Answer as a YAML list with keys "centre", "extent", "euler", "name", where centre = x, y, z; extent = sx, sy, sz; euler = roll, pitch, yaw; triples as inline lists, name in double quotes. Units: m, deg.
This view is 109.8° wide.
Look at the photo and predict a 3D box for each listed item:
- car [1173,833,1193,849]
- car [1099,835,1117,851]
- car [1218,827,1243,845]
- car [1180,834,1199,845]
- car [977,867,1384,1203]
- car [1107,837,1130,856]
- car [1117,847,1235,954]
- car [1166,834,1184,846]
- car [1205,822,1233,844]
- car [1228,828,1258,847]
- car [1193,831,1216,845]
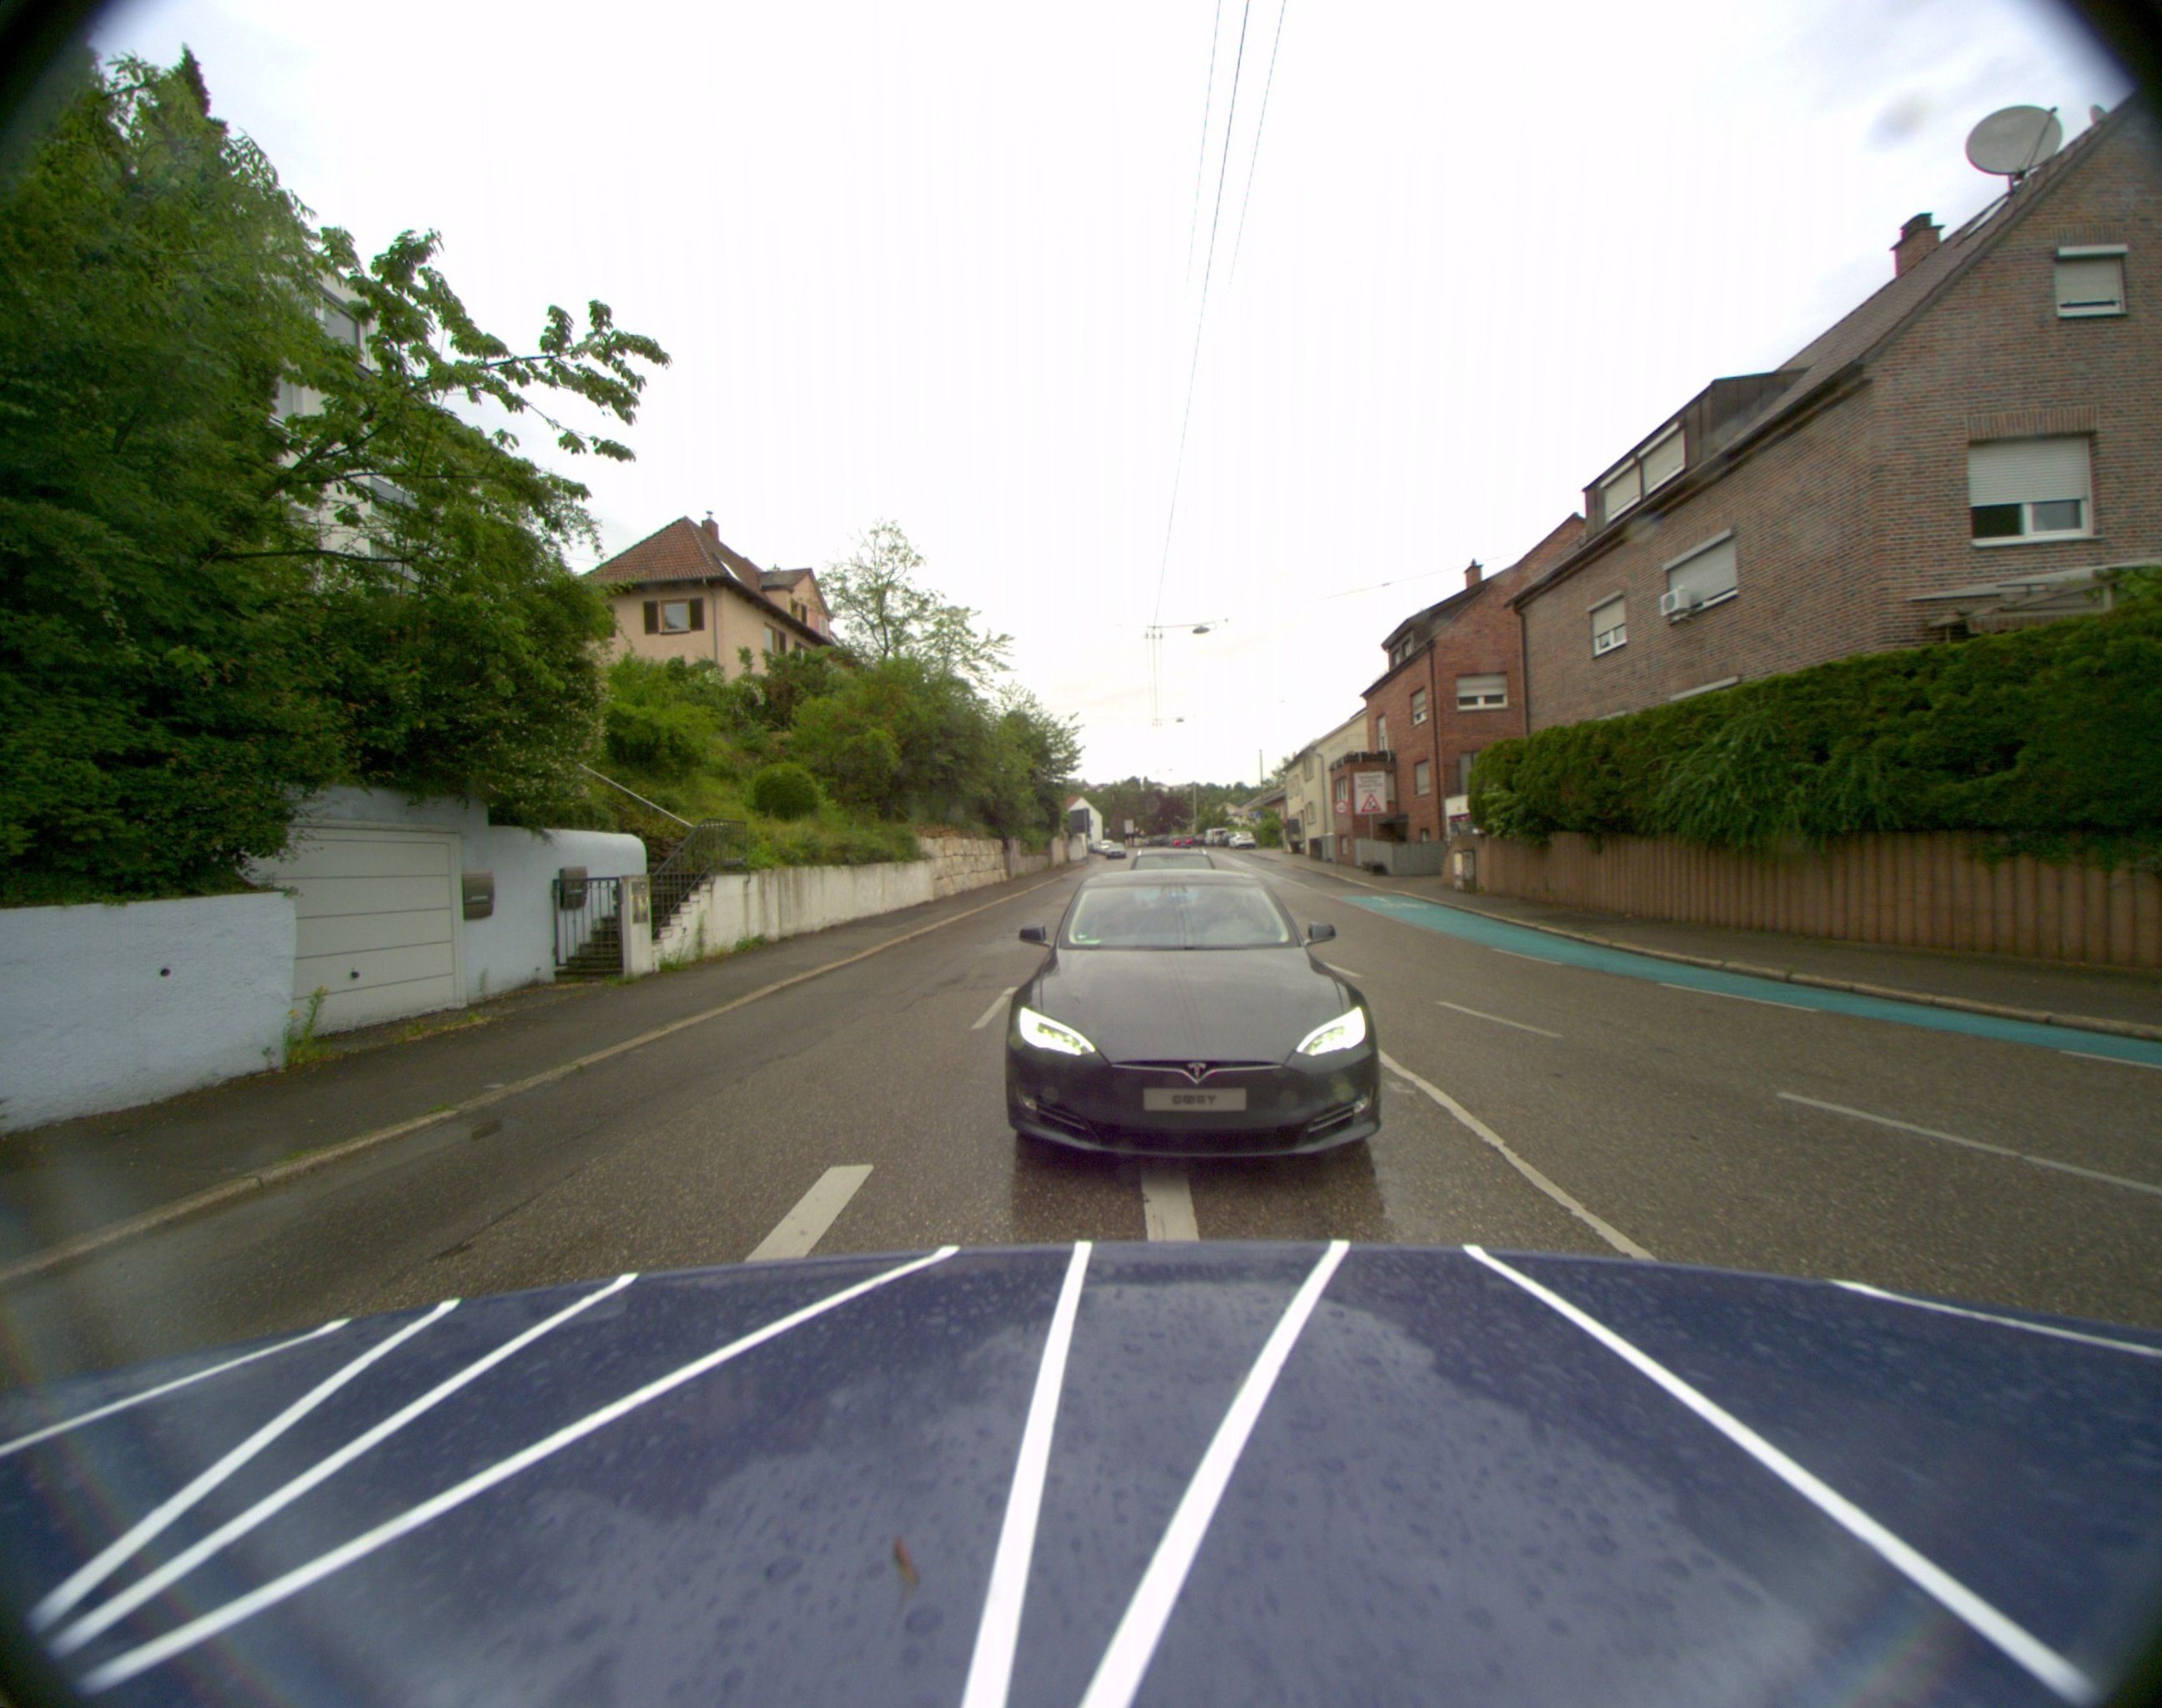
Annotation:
- centre: [11.051, -1.450, 82.338]
  extent: [1.853, 1.671, 4.172]
  euler: [0, 2, 4]
  name: "car"
- centre: [3.174, -1.317, 89.108]
  extent: [1.820, 1.855, 4.038]
  euler: [-2, 2, -1]
  name: "car"
- centre: [15.714, -1.901, 80.118]
  extent: [1.814, 1.793, 4.263]
  euler: [-4, 1, 2]
  name: "car"
- centre: [13.914, -1.845, 97.561]
  extent: [1.654, 1.388, 3.859]
  euler: [-4, 1, -4]
  name: "car"
- centre: [0.607, 0.908, 5.580]
  extent: [1.870, 1.407, 4.000]
  euler: [-2, 1, 4]
  name: "car"
- centre: [3.634, -0.705, 73.175]
  extent: [2.002, 1.596, 4.360]
  euler: [-2, -1, 4]
  name: "car"
- centre: [1.625, 0.716, 13.777]
  extent: [1.789, 1.580, 3.784]
  euler: [-2, 1, 4]
  name: "car"
- centre: [12.747, -1.889, 103.213]
  extent: [1.624, 1.482, 3.901]
  euler: [-4, 1, -4]
  name: "car"
- centre: [15.604, -2.330, 86.147]
  extent: [2.257, 2.273, 4.546]
  euler: [-4, 1, 0]
  name: "car"
- centre: [15.347, -1.550, 71.970]
  extent: [1.946, 1.557, 4.263]
  euler: [-4, 1, 2]
  name: "car"
- centre: [14.901, -1.916, 91.506]
  extent: [1.654, 1.482, 4.009]
  euler: [-4, 1, -6]
  name: "car"
